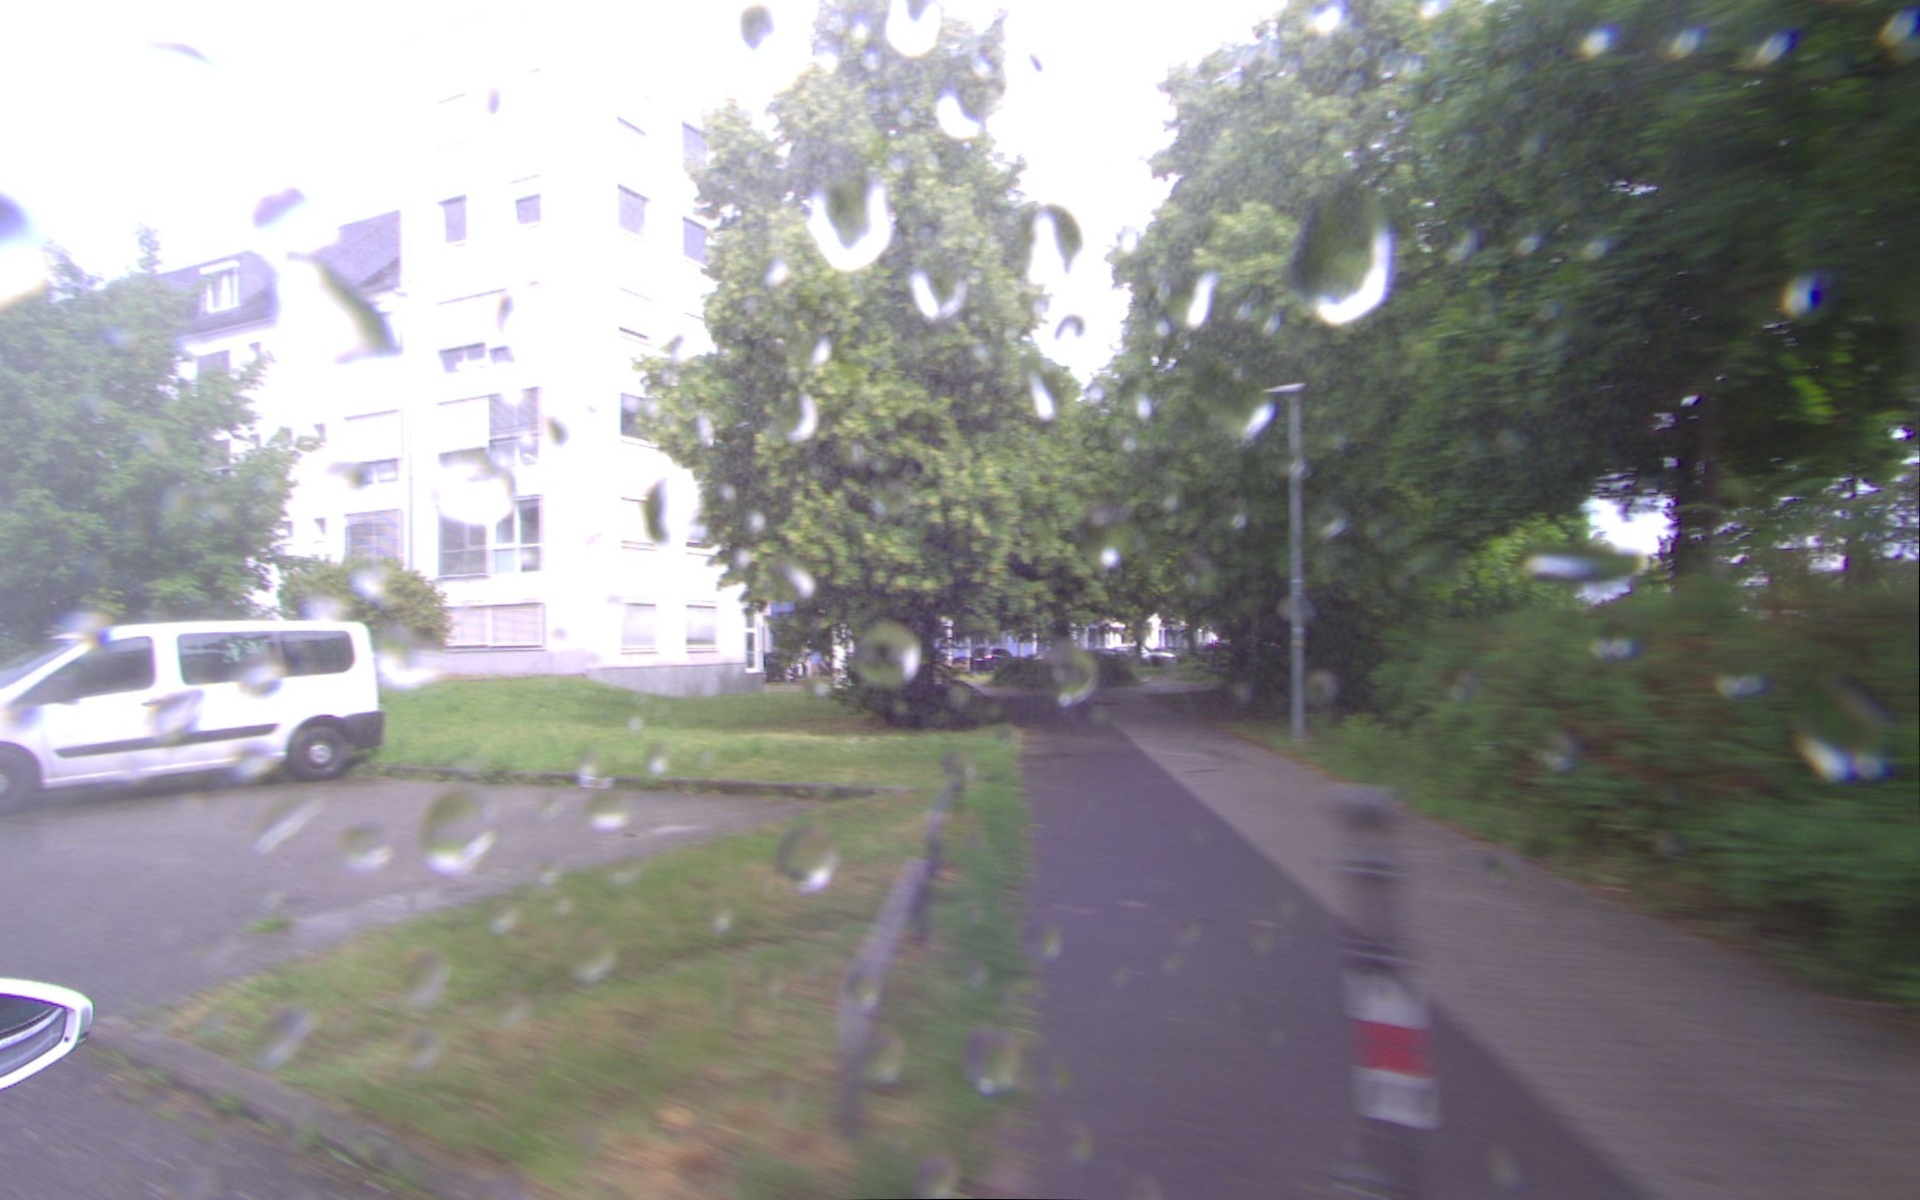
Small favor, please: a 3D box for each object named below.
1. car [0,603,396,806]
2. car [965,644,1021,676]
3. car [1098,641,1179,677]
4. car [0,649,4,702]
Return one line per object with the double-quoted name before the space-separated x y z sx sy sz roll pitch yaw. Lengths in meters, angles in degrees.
"car" -9.416 1.121 11.372 2.070 1.949 4.868 -3 -4 31
"car" 2.157 3.785 63.639 1.968 1.813 4.219 0 -1 27
"car" 10.996 3.618 61.889 4.518 1.966 2.042 0 0 32
"car" -27.917 2.101 26.491 1.662 1.445 3.414 -2 -1 27
